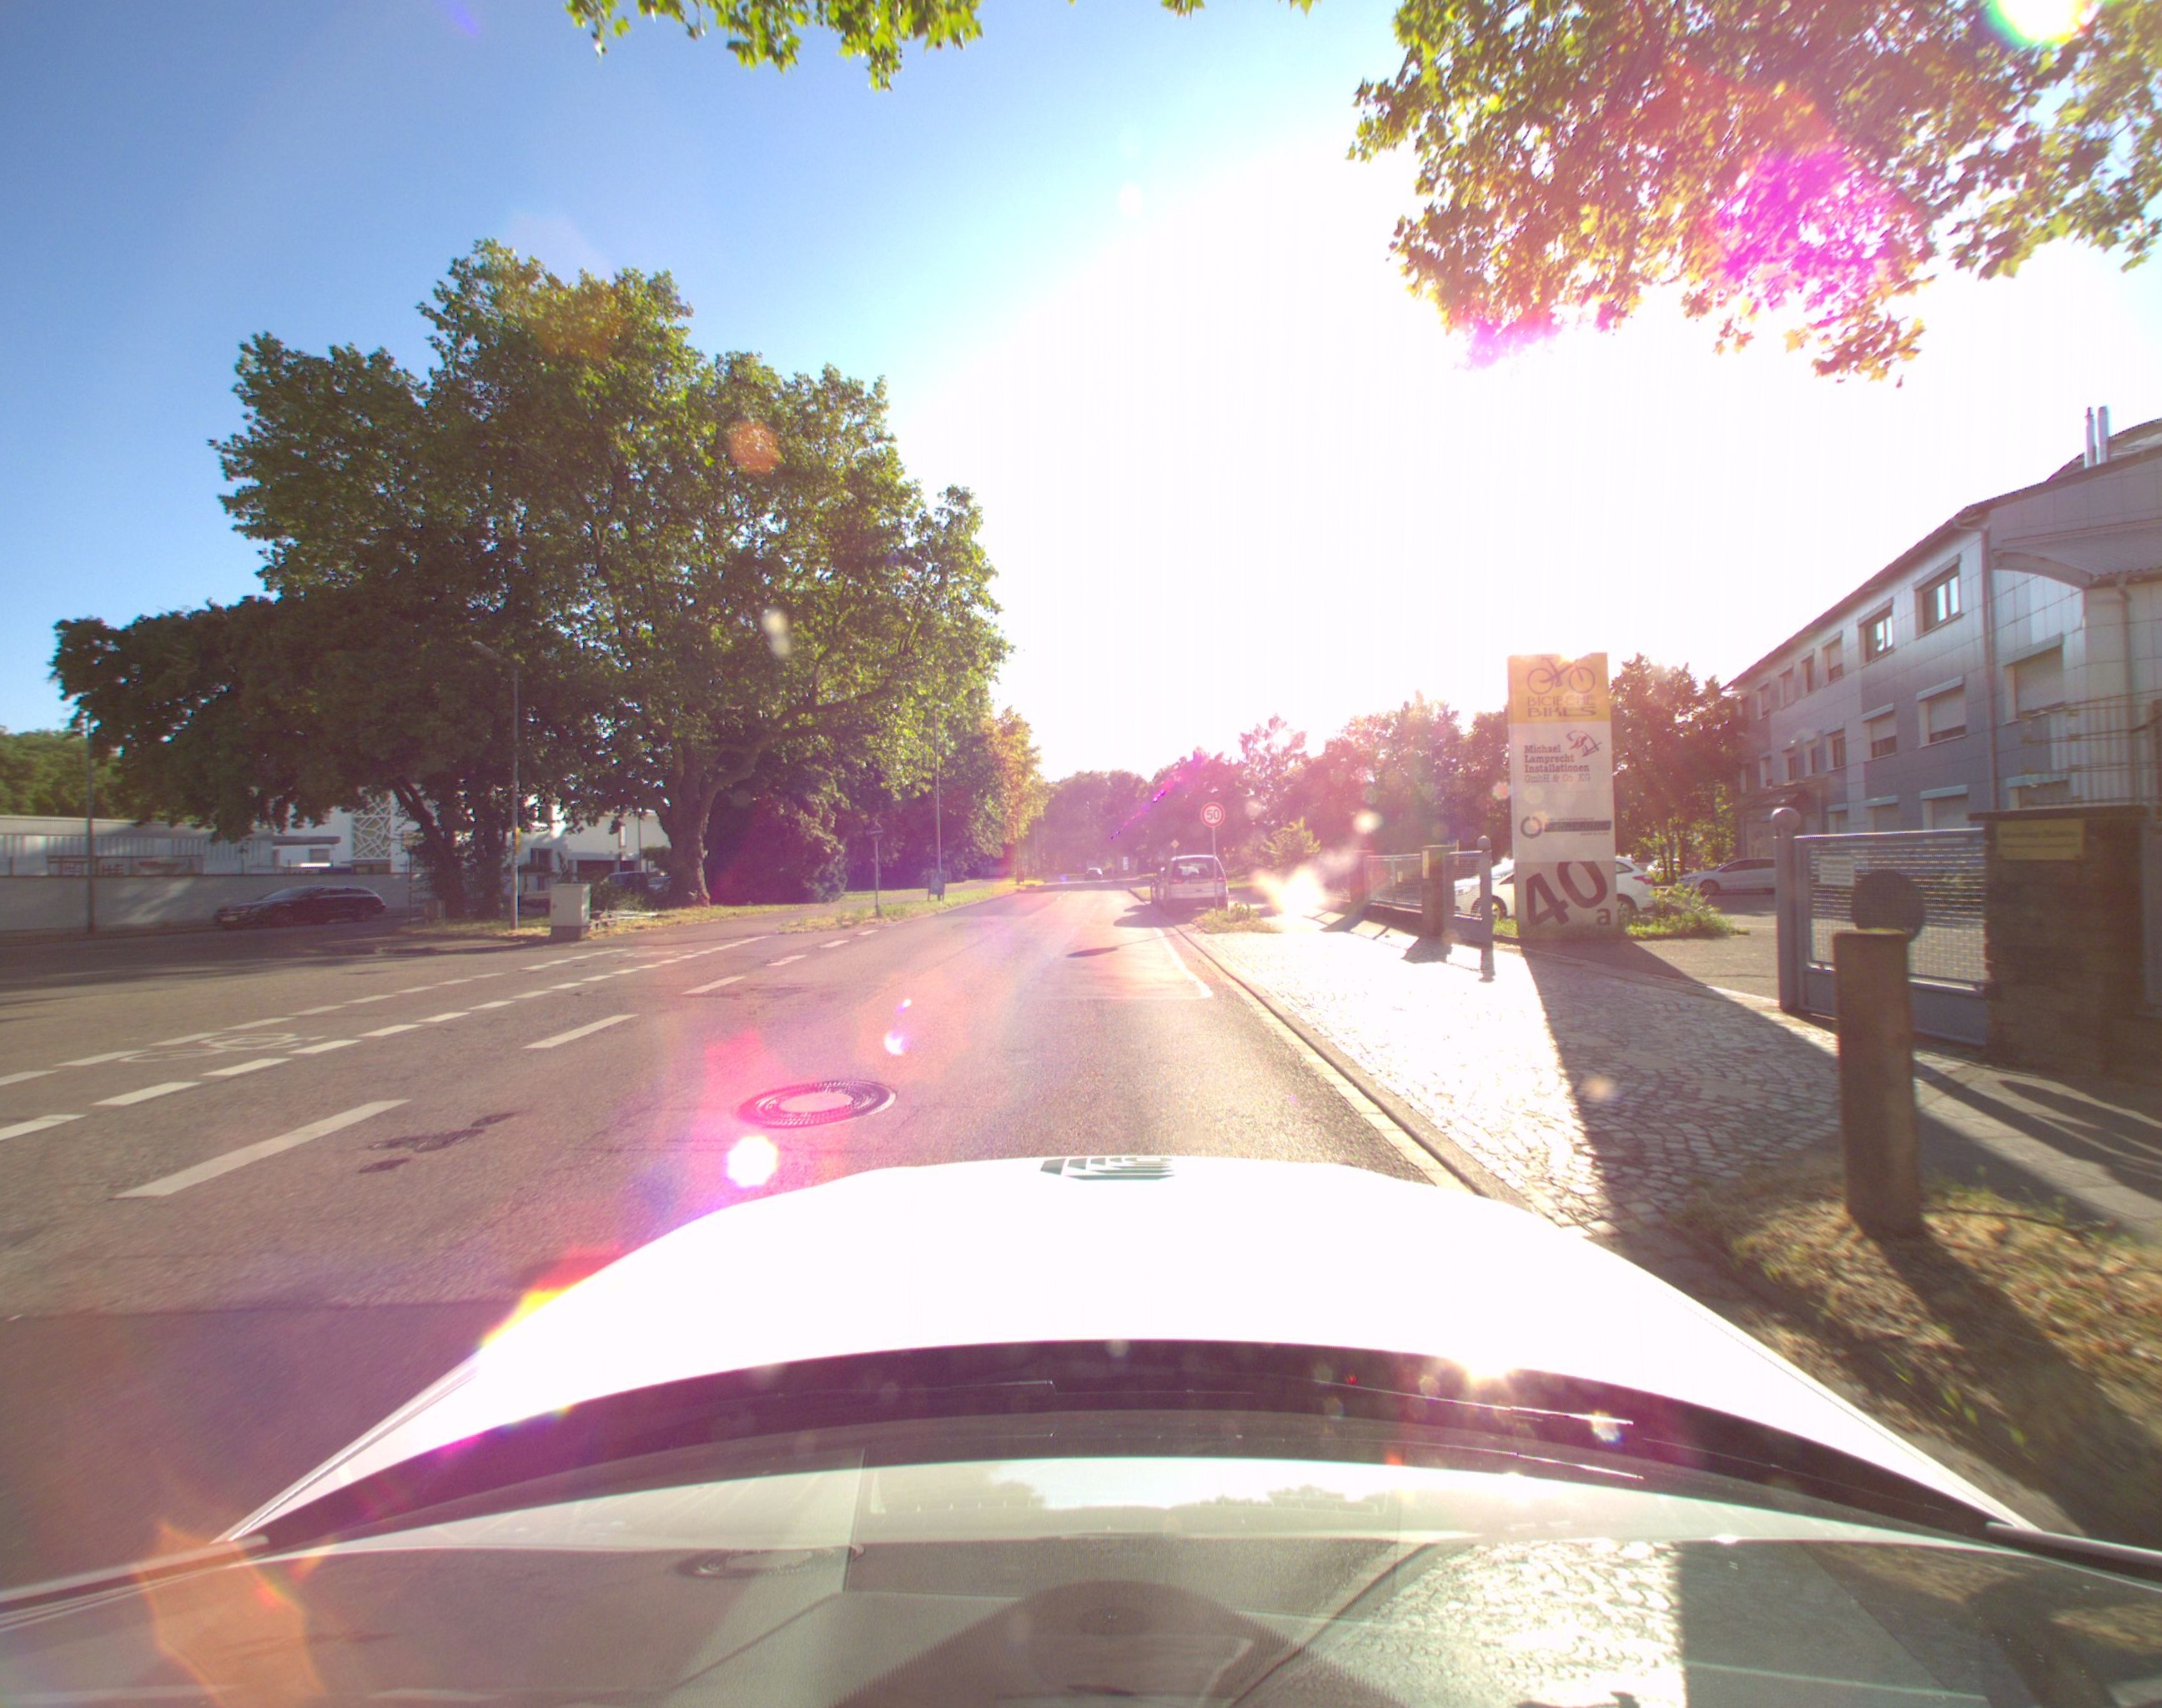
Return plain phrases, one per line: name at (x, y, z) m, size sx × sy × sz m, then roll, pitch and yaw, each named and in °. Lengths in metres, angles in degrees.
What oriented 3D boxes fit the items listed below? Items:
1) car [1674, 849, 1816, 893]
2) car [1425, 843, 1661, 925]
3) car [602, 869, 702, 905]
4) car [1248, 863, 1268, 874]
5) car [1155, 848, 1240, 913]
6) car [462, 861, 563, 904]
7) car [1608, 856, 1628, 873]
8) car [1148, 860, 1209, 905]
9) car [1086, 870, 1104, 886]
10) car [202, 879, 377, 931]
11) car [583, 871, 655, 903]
car at (26.319, 0.703, 32.468) m, size 3.951 × 1.574 × 1.920 m, roll -3°, pitch -2°, yaw 23°
car at (9.750, 0.628, 17.426) m, size 3.971 × 1.560 × 1.842 m, roll -1°, pitch -1°, yaw 2°
car at (-21.209, 1.621, 40.358) m, size 3.975 × 1.684 × 1.726 m, roll -1°, pitch -1°, yaw -1°
car at (28.529, 2.372, 131.479) m, size 1.810 × 1.728 × 4.389 m, roll 1°, pitch -1°, yaw -6°
car at (3.478, 0.792, 25.304) m, size 1.986 × 1.759 × 4.917 m, roll -2°, pitch -1°, yaw 1°
car at (-32.233, 1.614, 46.283) m, size 4.299 × 2.289 × 2.000 m, roll -1°, pitch -1°, yaw 1°
car at (56.026, 1.093, 85.011) m, size 1.680 × 1.688 × 3.889 m, roll 0°, pitch -1°, yaw 32°
car at (3.574, 1.026, 30.603) m, size 1.776 × 1.515 × 4.690 m, roll -2°, pitch -1°, yaw 1°
car at (1.603, 2.699, 91.604) m, size 1.832 × 1.605 × 3.864 m, roll -2°, pitch -1°, yaw 2°
car at (-27.563, 1.730, 28.605) m, size 1.852 × 1.561 × 4.359 m, roll -1°, pitch -1°, yaw 1°
car at (-27.786, 1.966, 49.108) m, size 1.887 × 1.741 × 4.175 m, roll -3°, pitch -1°, yaw 0°
